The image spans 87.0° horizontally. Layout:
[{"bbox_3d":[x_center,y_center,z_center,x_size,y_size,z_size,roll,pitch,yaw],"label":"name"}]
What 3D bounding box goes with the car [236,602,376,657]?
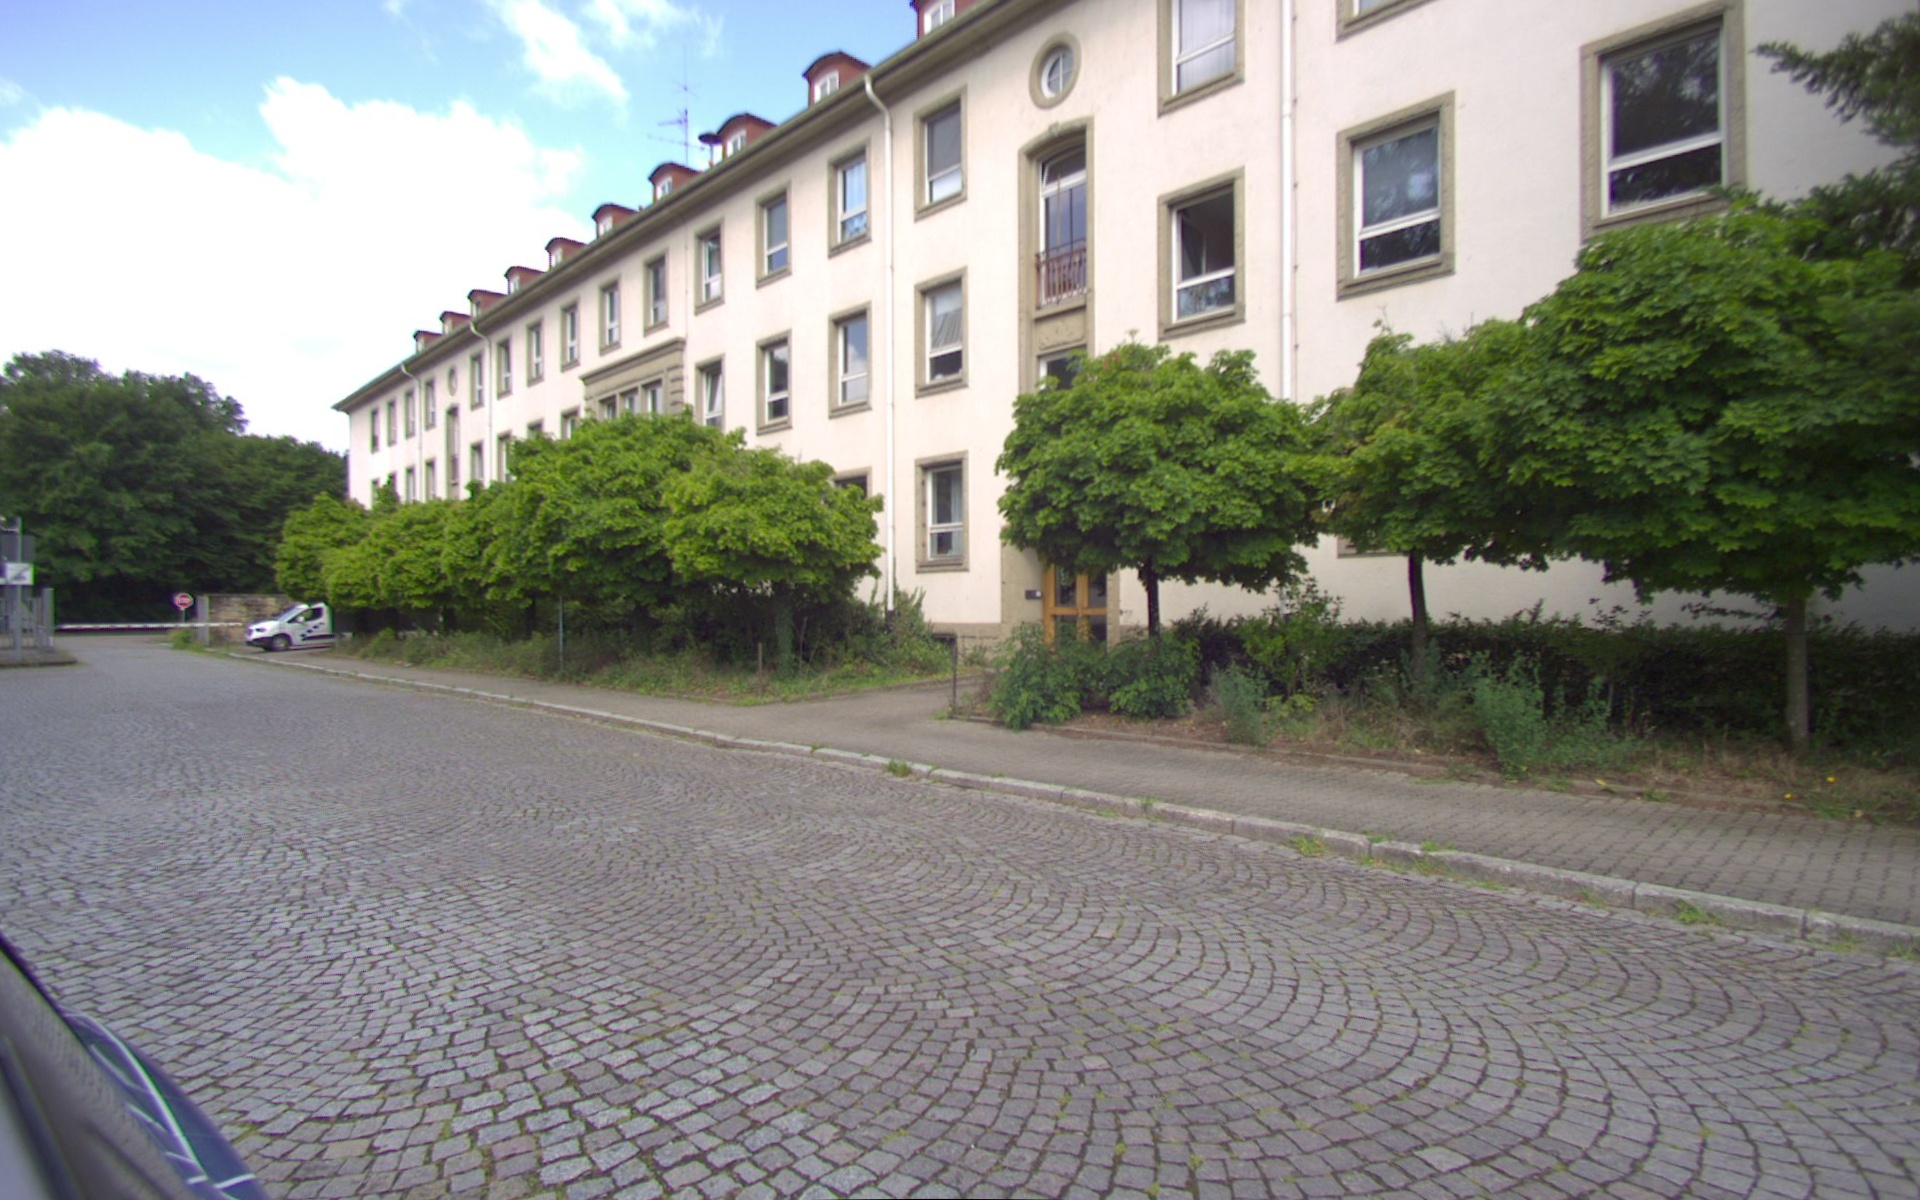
[{"bbox_3d":[-25.676,1.121,39.814,1.821,1.819,4.254,-1,3,43],"label":"car"}]
